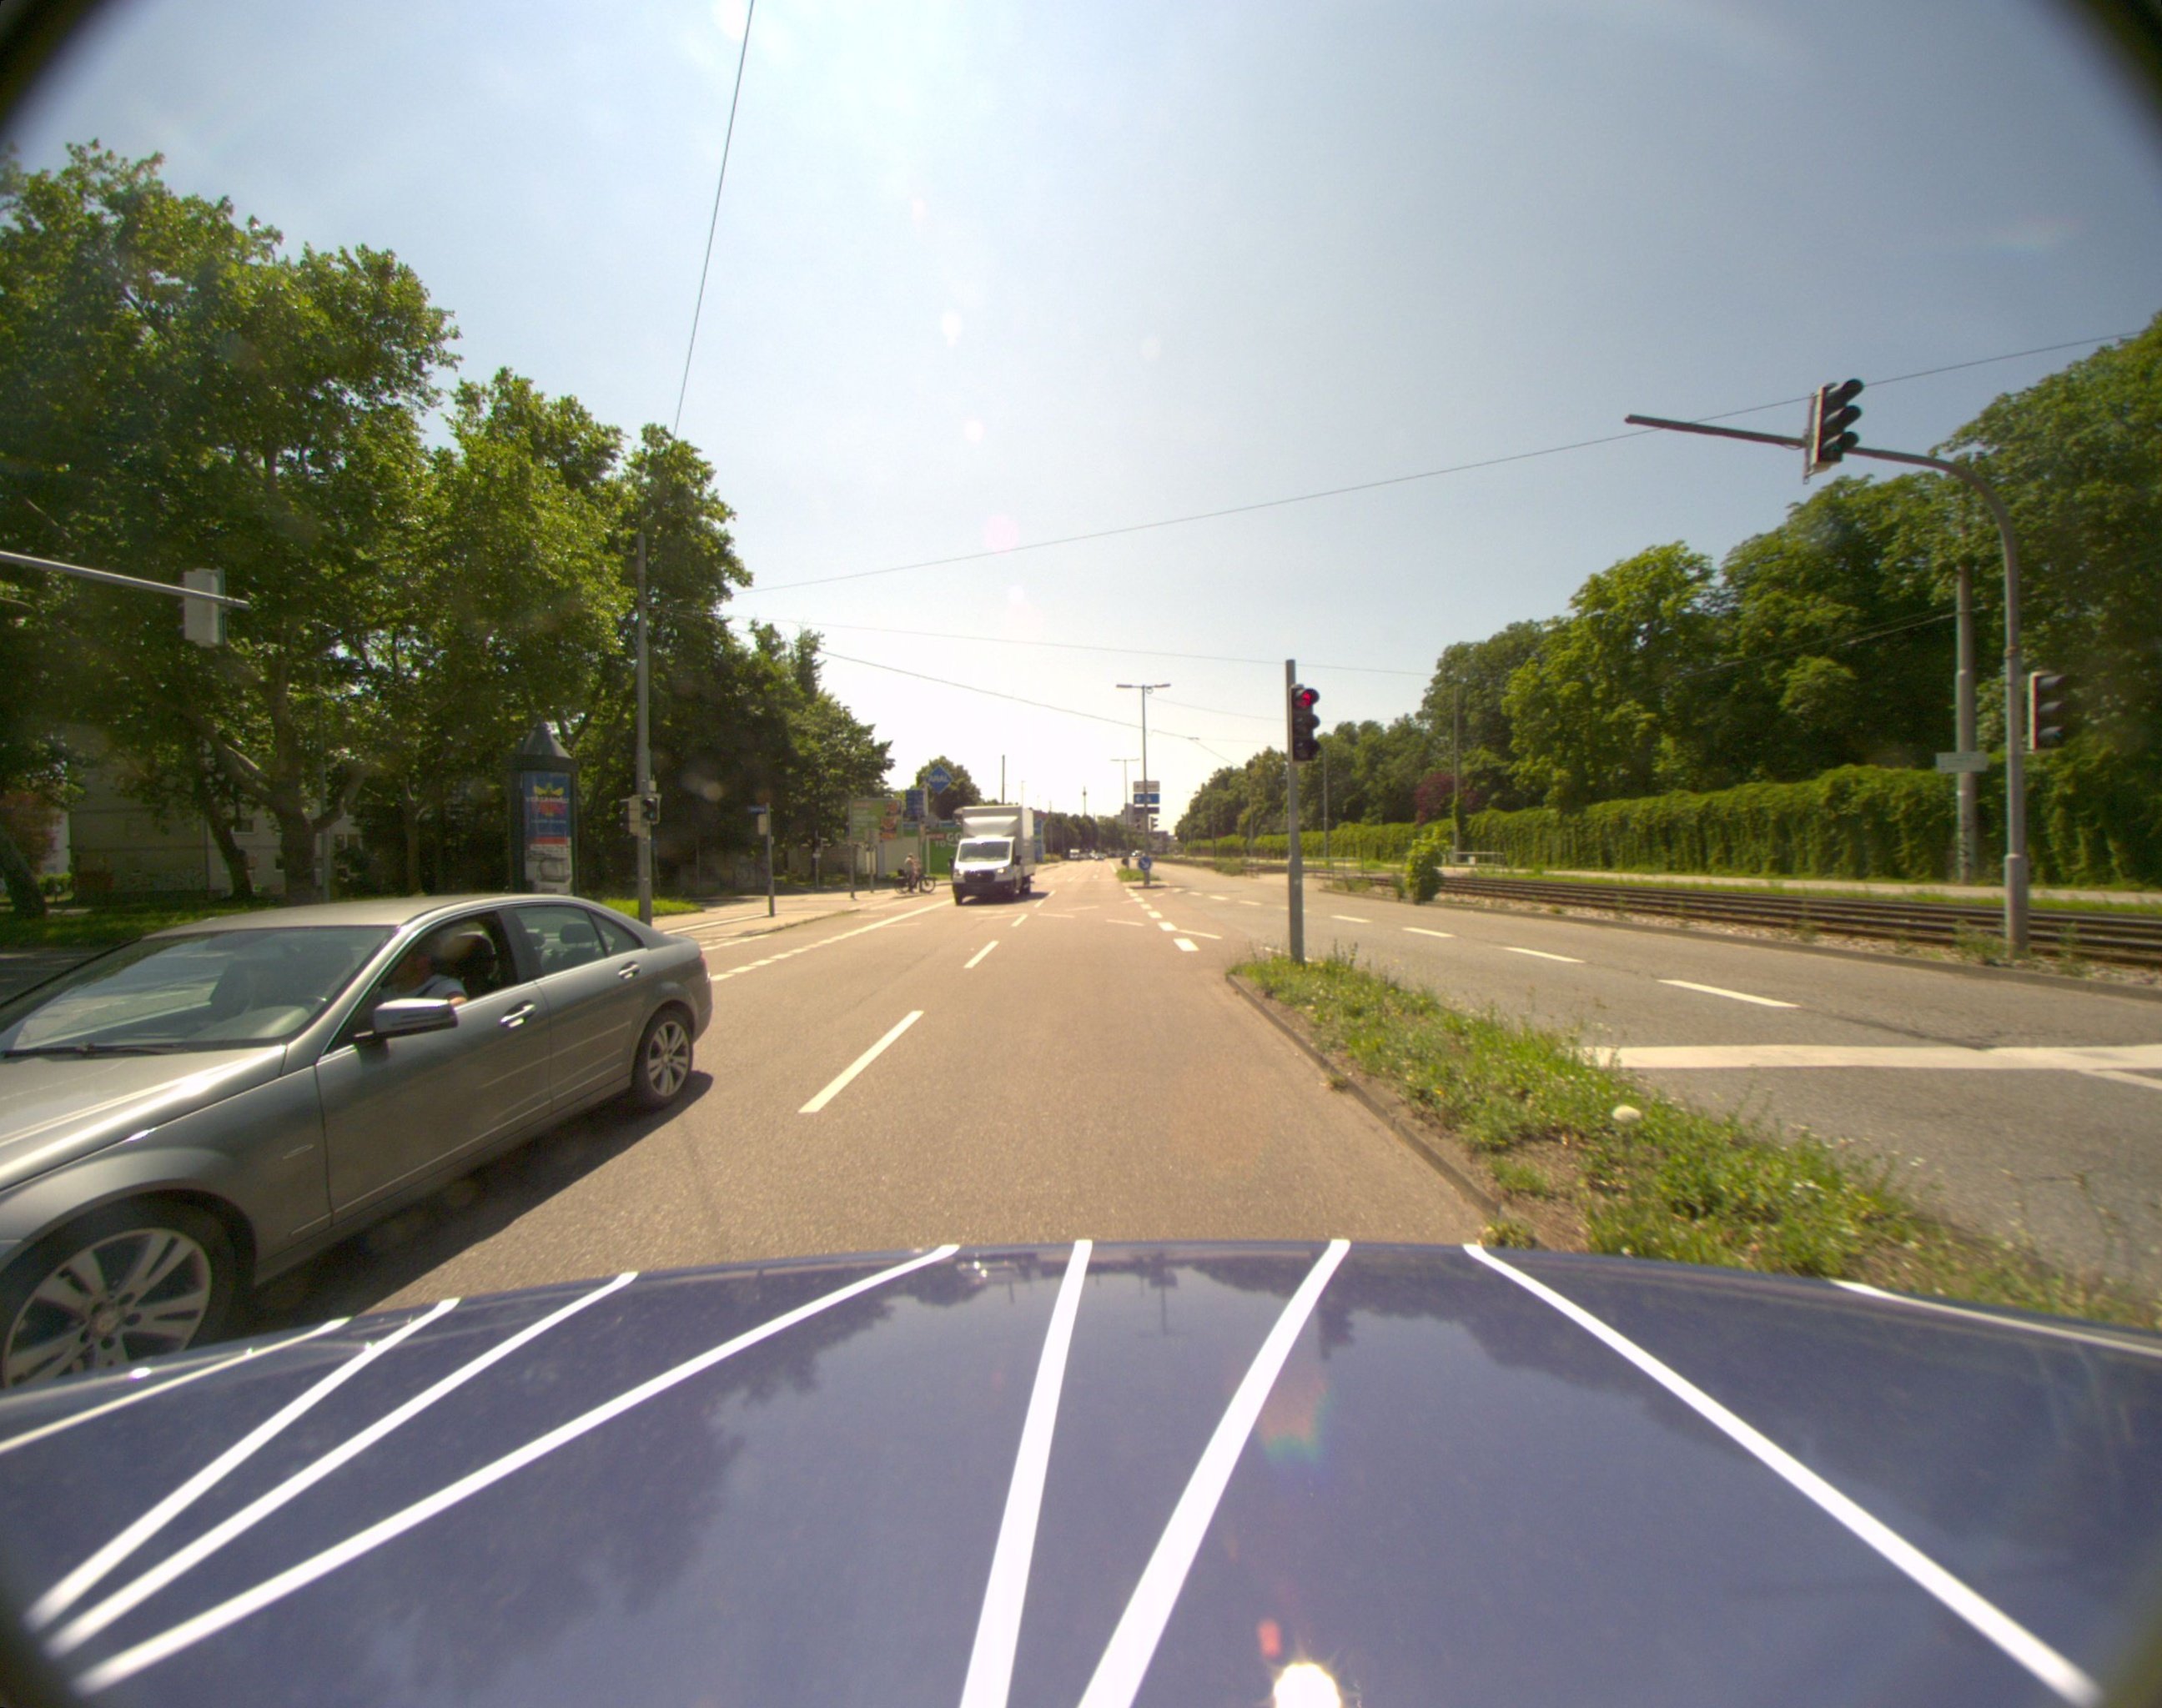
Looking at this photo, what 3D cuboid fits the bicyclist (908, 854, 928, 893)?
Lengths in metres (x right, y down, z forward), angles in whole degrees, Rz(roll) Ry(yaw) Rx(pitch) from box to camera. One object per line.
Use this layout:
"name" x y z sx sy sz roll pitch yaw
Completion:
"bicyclist" -7.677 0.894 35.764 0.578 1.777 0.768 -3 1 9

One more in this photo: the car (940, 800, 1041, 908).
"car" -3.050 -0.071 28.119 2.229 3.316 8.635 -3 1 2

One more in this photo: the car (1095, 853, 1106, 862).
"car" 3.841 0.643 149.491 1.947 1.674 3.999 -3 1 1

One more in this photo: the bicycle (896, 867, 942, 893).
"bicycle" -7.612 1.206 35.796 1.870 1.118 0.895 -2 1 9

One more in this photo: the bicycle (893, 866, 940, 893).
"bicycle" -7.449 1.153 34.490 1.955 1.152 0.894 -2 1 -3

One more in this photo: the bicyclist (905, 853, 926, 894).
"bicyclist" -7.530 0.870 34.566 0.726 1.777 0.976 -2 1 -3

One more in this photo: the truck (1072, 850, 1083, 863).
"truck" -0.683 0.524 164.043 1.998 2.462 5.237 -3 1 2

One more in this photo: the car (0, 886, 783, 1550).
"car" -3.538 1.056 3.913 1.717 1.464 5.302 -4 0 1

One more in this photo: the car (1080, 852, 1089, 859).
"car" 0.799 0.367 188.101 1.912 1.488 4.001 -3 1 5
